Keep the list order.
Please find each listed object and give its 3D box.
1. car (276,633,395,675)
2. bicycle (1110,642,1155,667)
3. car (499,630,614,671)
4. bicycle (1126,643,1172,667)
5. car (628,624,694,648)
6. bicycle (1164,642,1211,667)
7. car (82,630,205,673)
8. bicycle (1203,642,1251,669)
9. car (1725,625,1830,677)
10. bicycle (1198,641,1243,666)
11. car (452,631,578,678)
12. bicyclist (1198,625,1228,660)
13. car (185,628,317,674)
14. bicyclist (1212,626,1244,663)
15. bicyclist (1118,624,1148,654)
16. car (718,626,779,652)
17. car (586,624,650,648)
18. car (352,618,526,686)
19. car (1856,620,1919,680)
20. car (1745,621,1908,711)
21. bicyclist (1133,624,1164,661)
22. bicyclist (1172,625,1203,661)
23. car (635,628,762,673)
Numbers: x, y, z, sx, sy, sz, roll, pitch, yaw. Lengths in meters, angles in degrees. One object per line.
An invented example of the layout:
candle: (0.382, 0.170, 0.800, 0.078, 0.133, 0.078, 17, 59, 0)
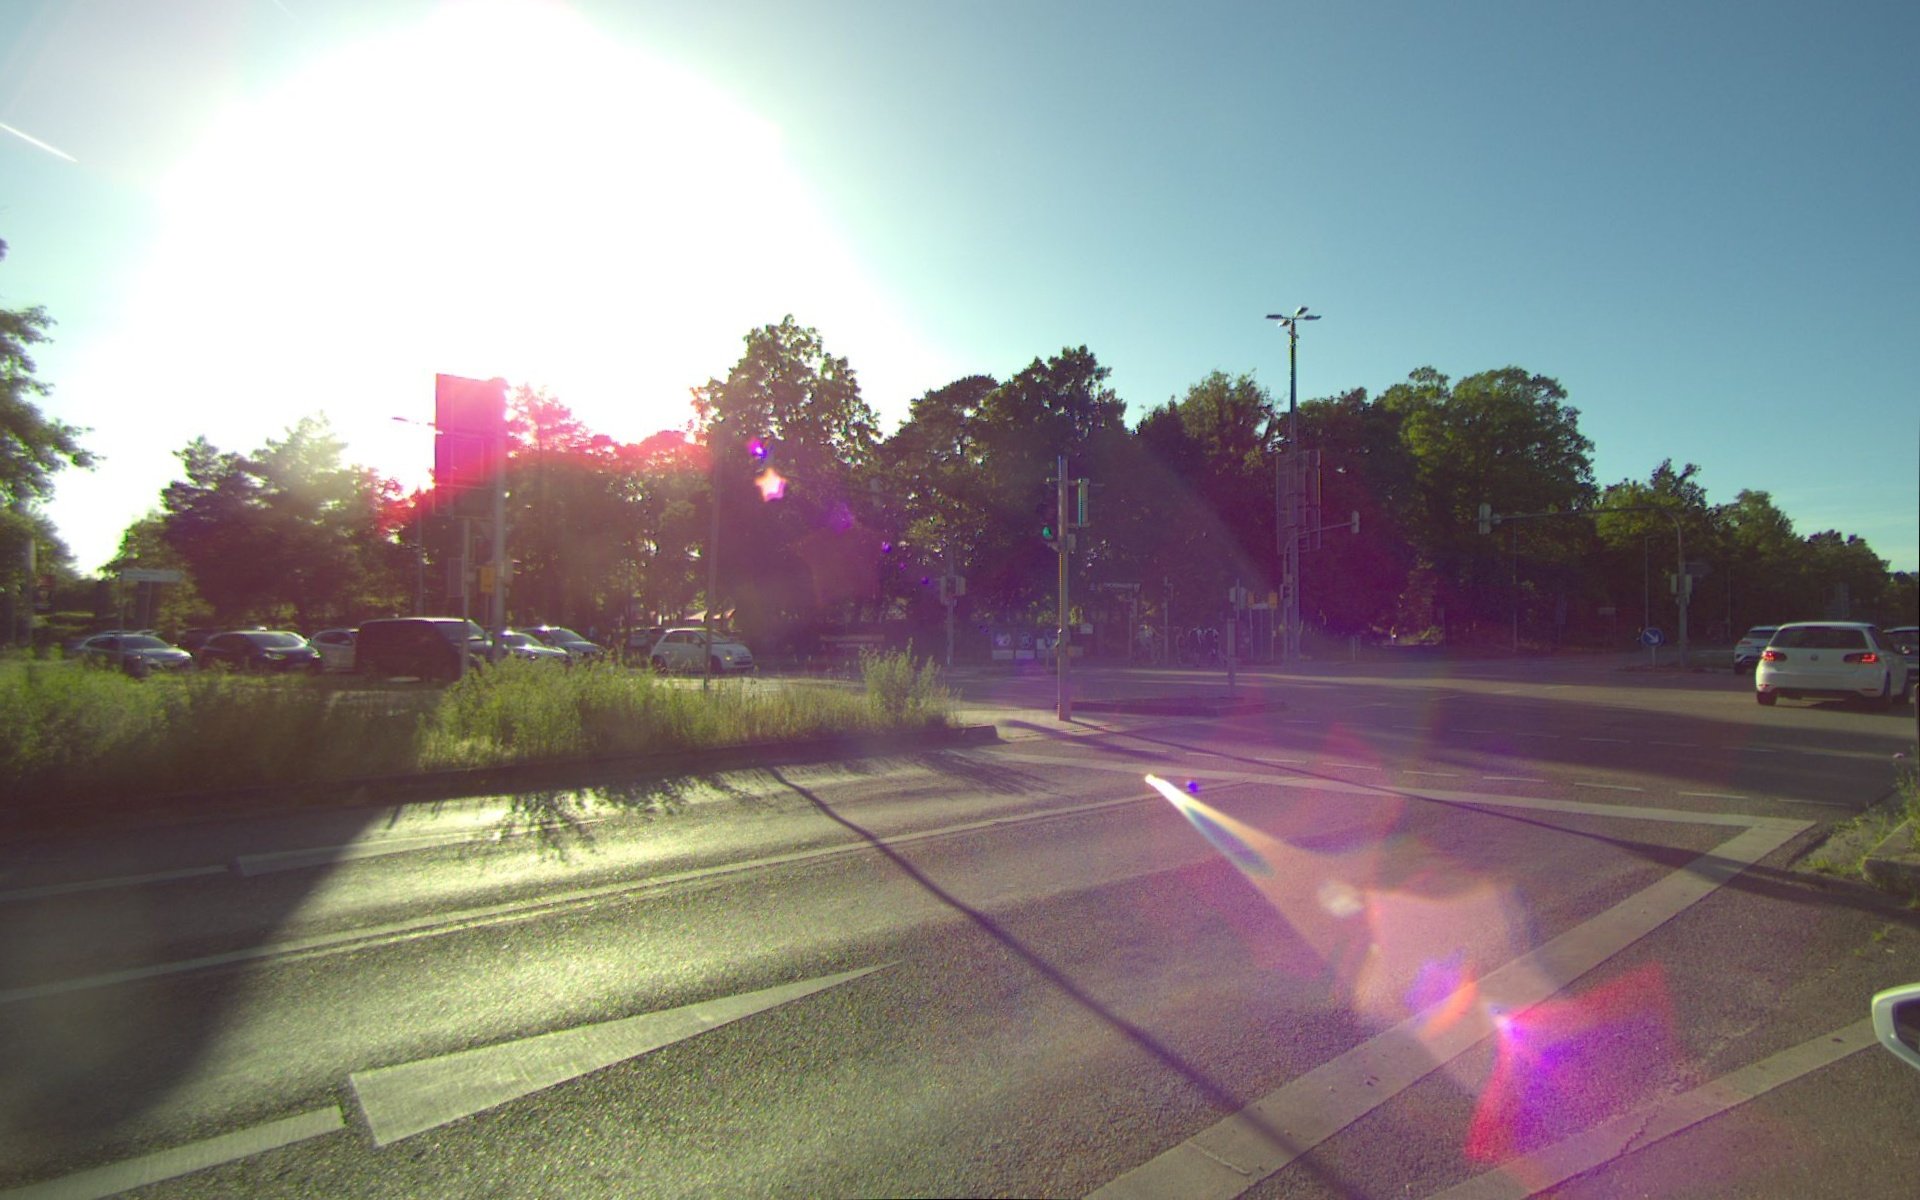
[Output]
car: (-22.346, 1.892, 35.925, 3.727, 1.407, 1.853, 0, -2, 25)
bicycle: (6.893, 2.152, 40.097, 1.893, 0.926, 0.709, 0, -1, -37)
car: (-14.685, 1.797, 36.576, 3.727, 1.407, 1.853, 0, -2, 25)
bicycle: (7.407, 2.142, 39.350, 1.893, 0.926, 0.709, 1, -2, -37)
car: (-20.601, 2.451, 69.361, 1.785, 1.621, 4.136, -1, -2, 36)
bicycle: (8.825, 2.098, 38.932, 1.893, 0.926, 0.709, 1, -2, -37)
car: (-28.458, 1.761, 35.022, 3.727, 1.407, 1.853, 0, -2, 25)
bicycle: (9.953, 2.058, 37.442, 1.893, 0.926, 0.709, 1, -2, -37)
car: (25.063, 1.523, 30.762, 3.968, 1.463, 1.847, 2, -1, -41)
bicycle: (10.440, 2.133, 40.234, 1.893, 0.926, 0.709, 1, -2, -37)
car: (-14.292, 1.720, 32.247, 3.727, 1.407, 1.647, 0, -2, 25)
bicyclist: (10.081, 1.678, 39.965, 0.981, 1.360, 0.709, 1, -1, -37)
car: (-22.939, 1.613, 32.498, 3.727, 1.407, 1.853, 0, -2, 25)
bicyclist: (10.002, 1.660, 37.483, 0.981, 1.356, 0.709, 1, -1, -37)
bicyclist: (6.894, 1.552, 40.110, 0.981, 1.208, 0.709, 1, -2, -37)
car: (-13.968, 2.565, 66.544, 1.780, 1.621, 4.192, 0, -1, 27)
car: (-23.992, 2.535, 70.581, 1.785, 1.621, 3.957, -1, -2, 36)
car: (-15.218, 1.452, 29.302, 4.840, 1.854, 1.927, 0, -2, 25)
car: (26.304, 1.358, 27.810, 3.974, 1.557, 1.974, 2, -2, -45)
car: (15.670, 1.108, 18.105, 3.974, 1.433, 1.921, 2, -2, -45)
bicyclist: (7.379, 1.653, 39.341, 0.981, 1.408, 0.705, 1, -1, -37)
bicyclist: (8.825, 1.658, 38.936, 0.981, 1.373, 0.709, 1, -1, -37)
car: (-8.736, 1.647, 33.591, 3.727, 1.407, 1.927, 0, -2, 25)
